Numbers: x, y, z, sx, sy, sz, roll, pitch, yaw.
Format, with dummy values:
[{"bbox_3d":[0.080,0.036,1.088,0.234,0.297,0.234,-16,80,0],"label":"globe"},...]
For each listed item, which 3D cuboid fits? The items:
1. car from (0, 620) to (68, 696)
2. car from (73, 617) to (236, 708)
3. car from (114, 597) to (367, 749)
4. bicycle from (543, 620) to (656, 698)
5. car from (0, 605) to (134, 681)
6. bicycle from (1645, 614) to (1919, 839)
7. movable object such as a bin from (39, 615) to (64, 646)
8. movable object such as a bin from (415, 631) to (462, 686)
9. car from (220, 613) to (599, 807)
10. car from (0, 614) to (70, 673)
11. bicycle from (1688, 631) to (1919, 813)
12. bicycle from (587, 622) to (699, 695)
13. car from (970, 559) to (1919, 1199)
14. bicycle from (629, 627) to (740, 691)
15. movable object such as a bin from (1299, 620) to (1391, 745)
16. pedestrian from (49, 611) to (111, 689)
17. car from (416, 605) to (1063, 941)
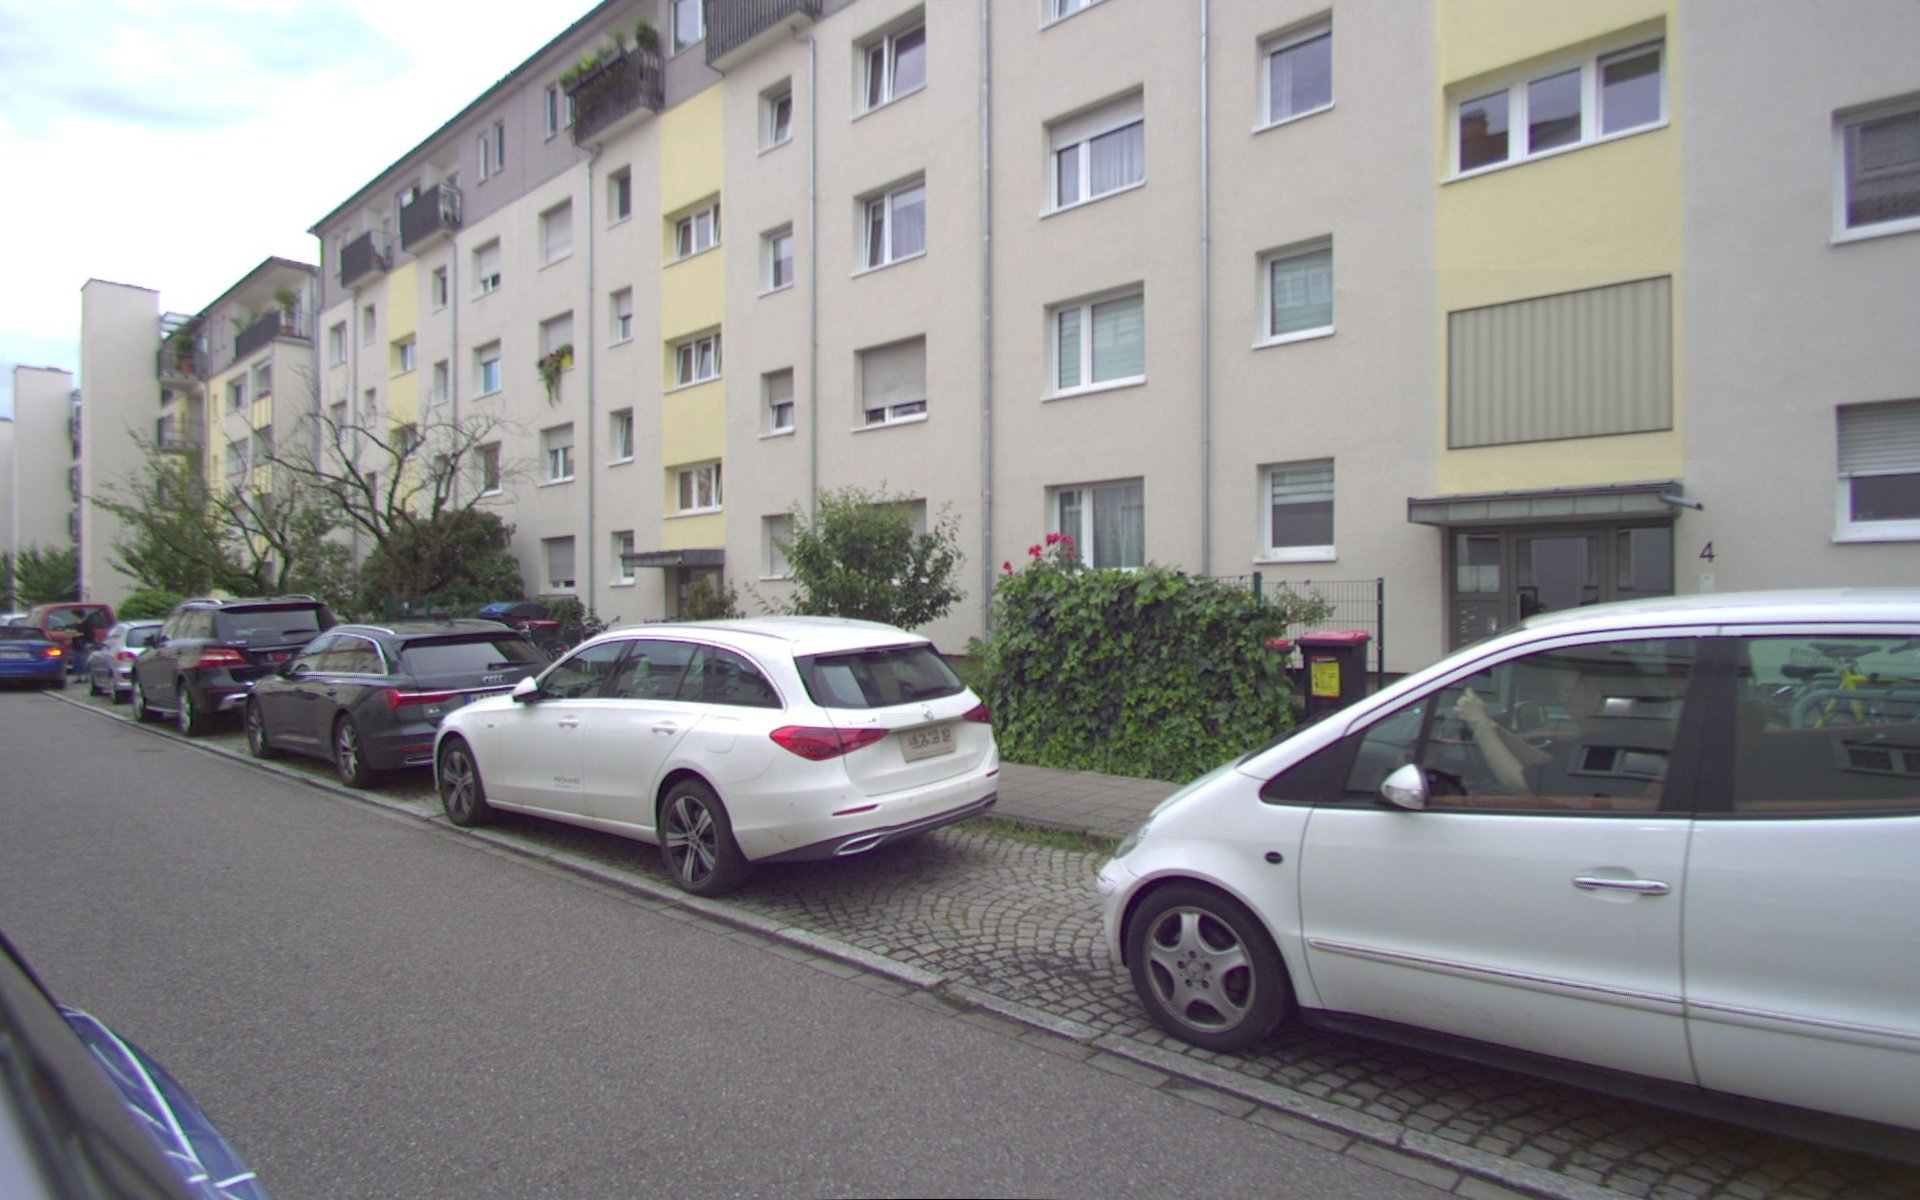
[{"bbox_3d":[-20.394,1.183,21.388,4.500,1.462,1.825,-1,0,42],"label":"car"},{"bbox_3d":[-15.237,1.100,19.086,3.784,1.475,1.726,-1,1,41],"label":"car"},{"bbox_3d":[-10.314,0.906,14.377,4.472,1.753,1.876,-1,2,41],"label":"car"},{"bbox_3d":[-6.170,0.970,17.235,2.354,1.221,0.780,-1,-1,41],"label":"bicycle"},{"bbox_3d":[-23.373,1.060,26.424,4.357,1.784,1.937,-1,0,39],"label":"car"},{"bbox_3d":[5.349,0.701,5.960,2.089,1.220,0.724,-1,0,41],"label":"bicycle"},{"bbox_3d":[-43.153,1.438,48.084,1.288,1.440,0.794,-1,0,45],"label":"movable object such as a bin"},{"bbox_3d":[-9.459,1.053,18.353,0.635,0.962,0.545,-1,-2,41],"label":"movable object such as a bin"},{"bbox_3d":[-5.812,0.927,10.407,4.664,1.463,1.875,-1,2,41],"label":"car"},{"bbox_3d":[-27.937,1.242,30.060,3.868,1.581,1.703,-1,1,41],"label":"car"},{"bbox_3d":[6.031,0.760,6.535,2.089,1.086,0.724,-1,0,41],"label":"bicycle"},{"bbox_3d":[-5.611,0.996,17.843,2.354,1.195,0.780,-1,-1,41],"label":"bicycle"},{"bbox_3d":[2.397,0.706,3.388,4.516,1.610,1.877,-1,2,39],"label":"car"},{"bbox_3d":[-5.050,1.048,18.467,2.354,1.089,0.780,-1,-1,41],"label":"bicycle"},{"bbox_3d":[3.710,0.763,9.737,0.610,1.125,0.779,-2,-1,37],"label":"movable object such as a bin"},{"bbox_3d":[-19.623,1.098,22.575,0.790,1.714,0.738,-1,-1,20],"label":"pedestrian"},{"bbox_3d":[-1.722,0.830,6.845,4.517,1.463,1.876,-1,2,40],"label":"car"}]
